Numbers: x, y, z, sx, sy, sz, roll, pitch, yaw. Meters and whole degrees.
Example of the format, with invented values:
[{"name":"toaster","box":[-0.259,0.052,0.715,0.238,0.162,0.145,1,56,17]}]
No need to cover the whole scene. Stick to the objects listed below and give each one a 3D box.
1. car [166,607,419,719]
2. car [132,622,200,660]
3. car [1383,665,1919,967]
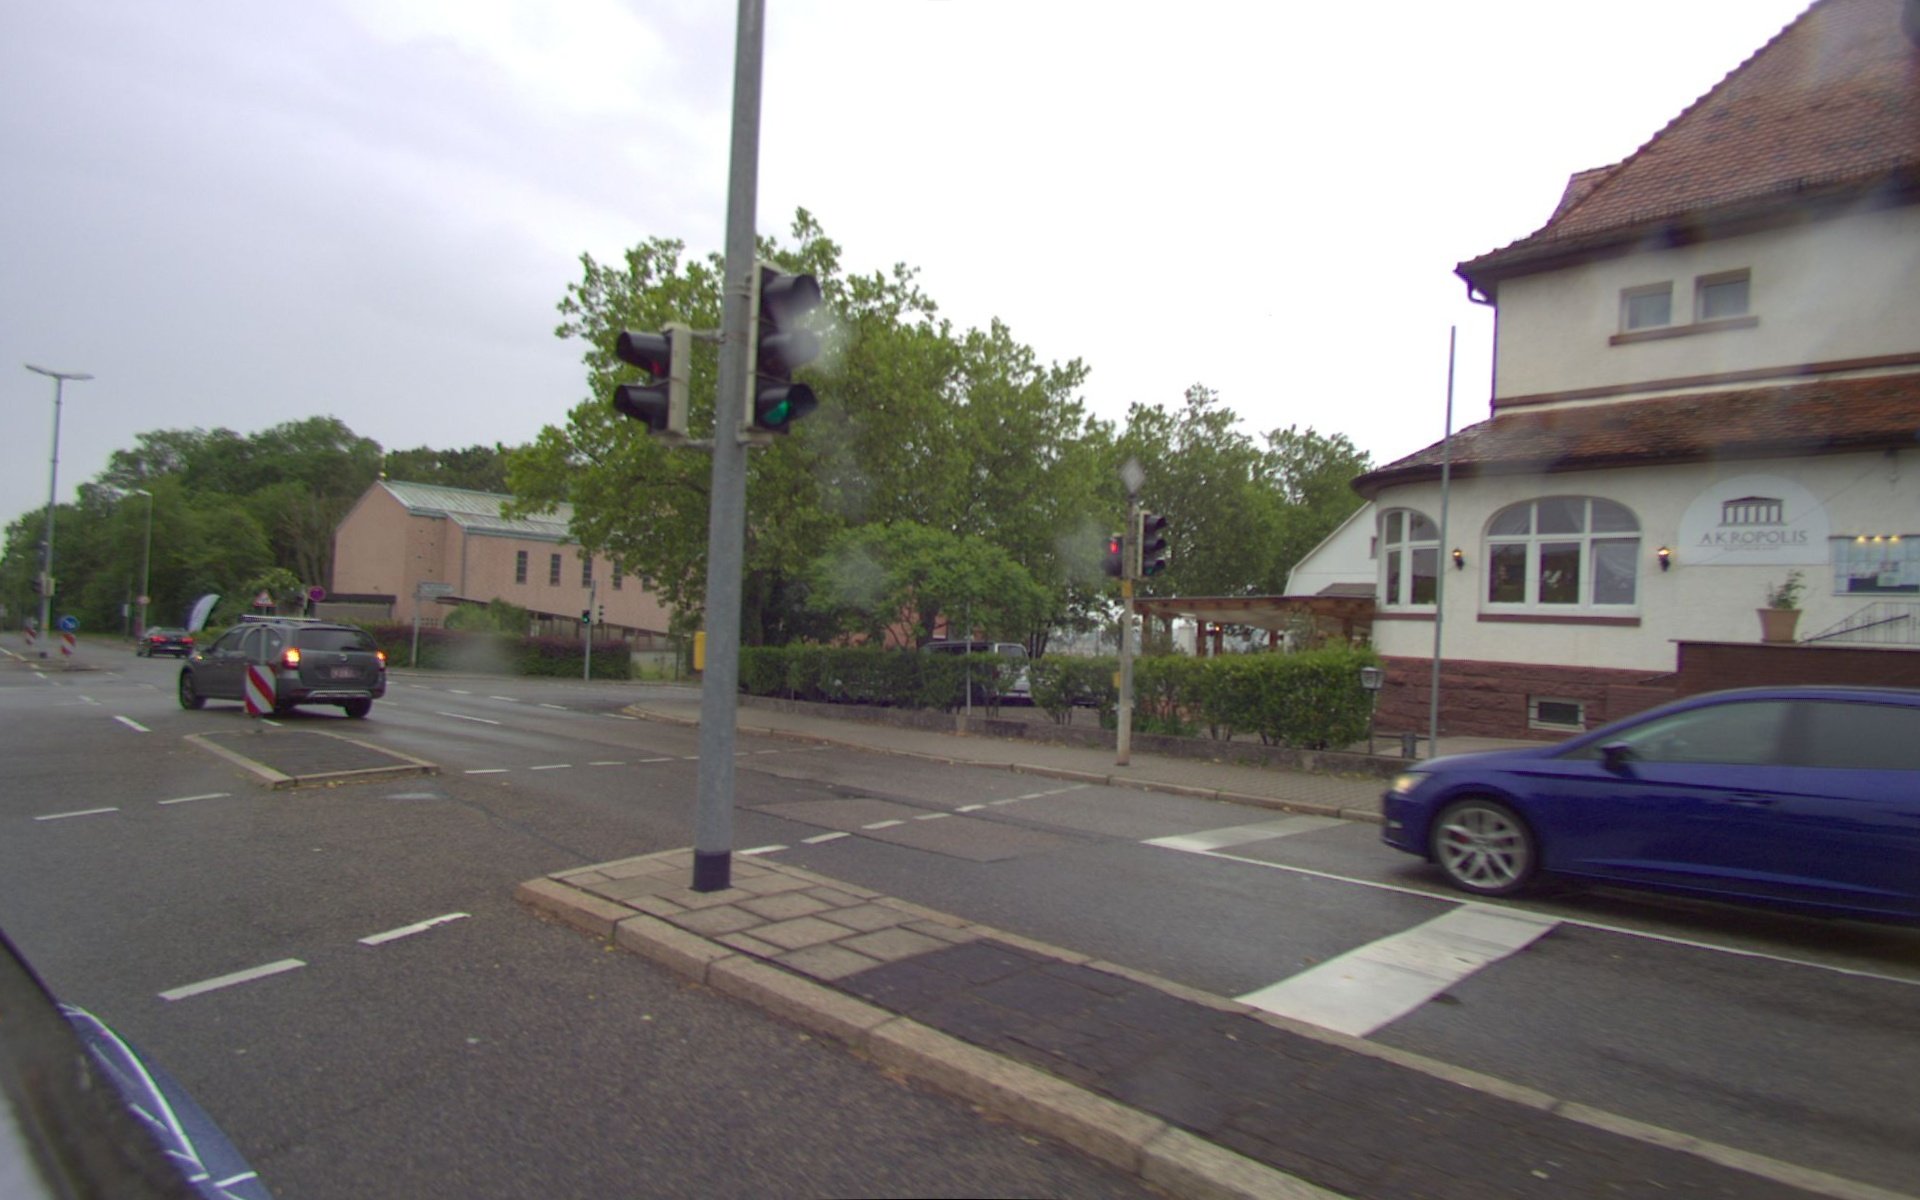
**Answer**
[{"name":"car","box":[-11.408,1.036,17.240,4.290,1.674,1.978,-1,-4,33]},{"name":"car","box":[-38.200,1.971,48.654,4.305,1.674,1.971,-2,-5,44]},{"name":"car","box":[4.950,1.186,6.077,4.107,1.431,1.747,-2,-7,45]}]
